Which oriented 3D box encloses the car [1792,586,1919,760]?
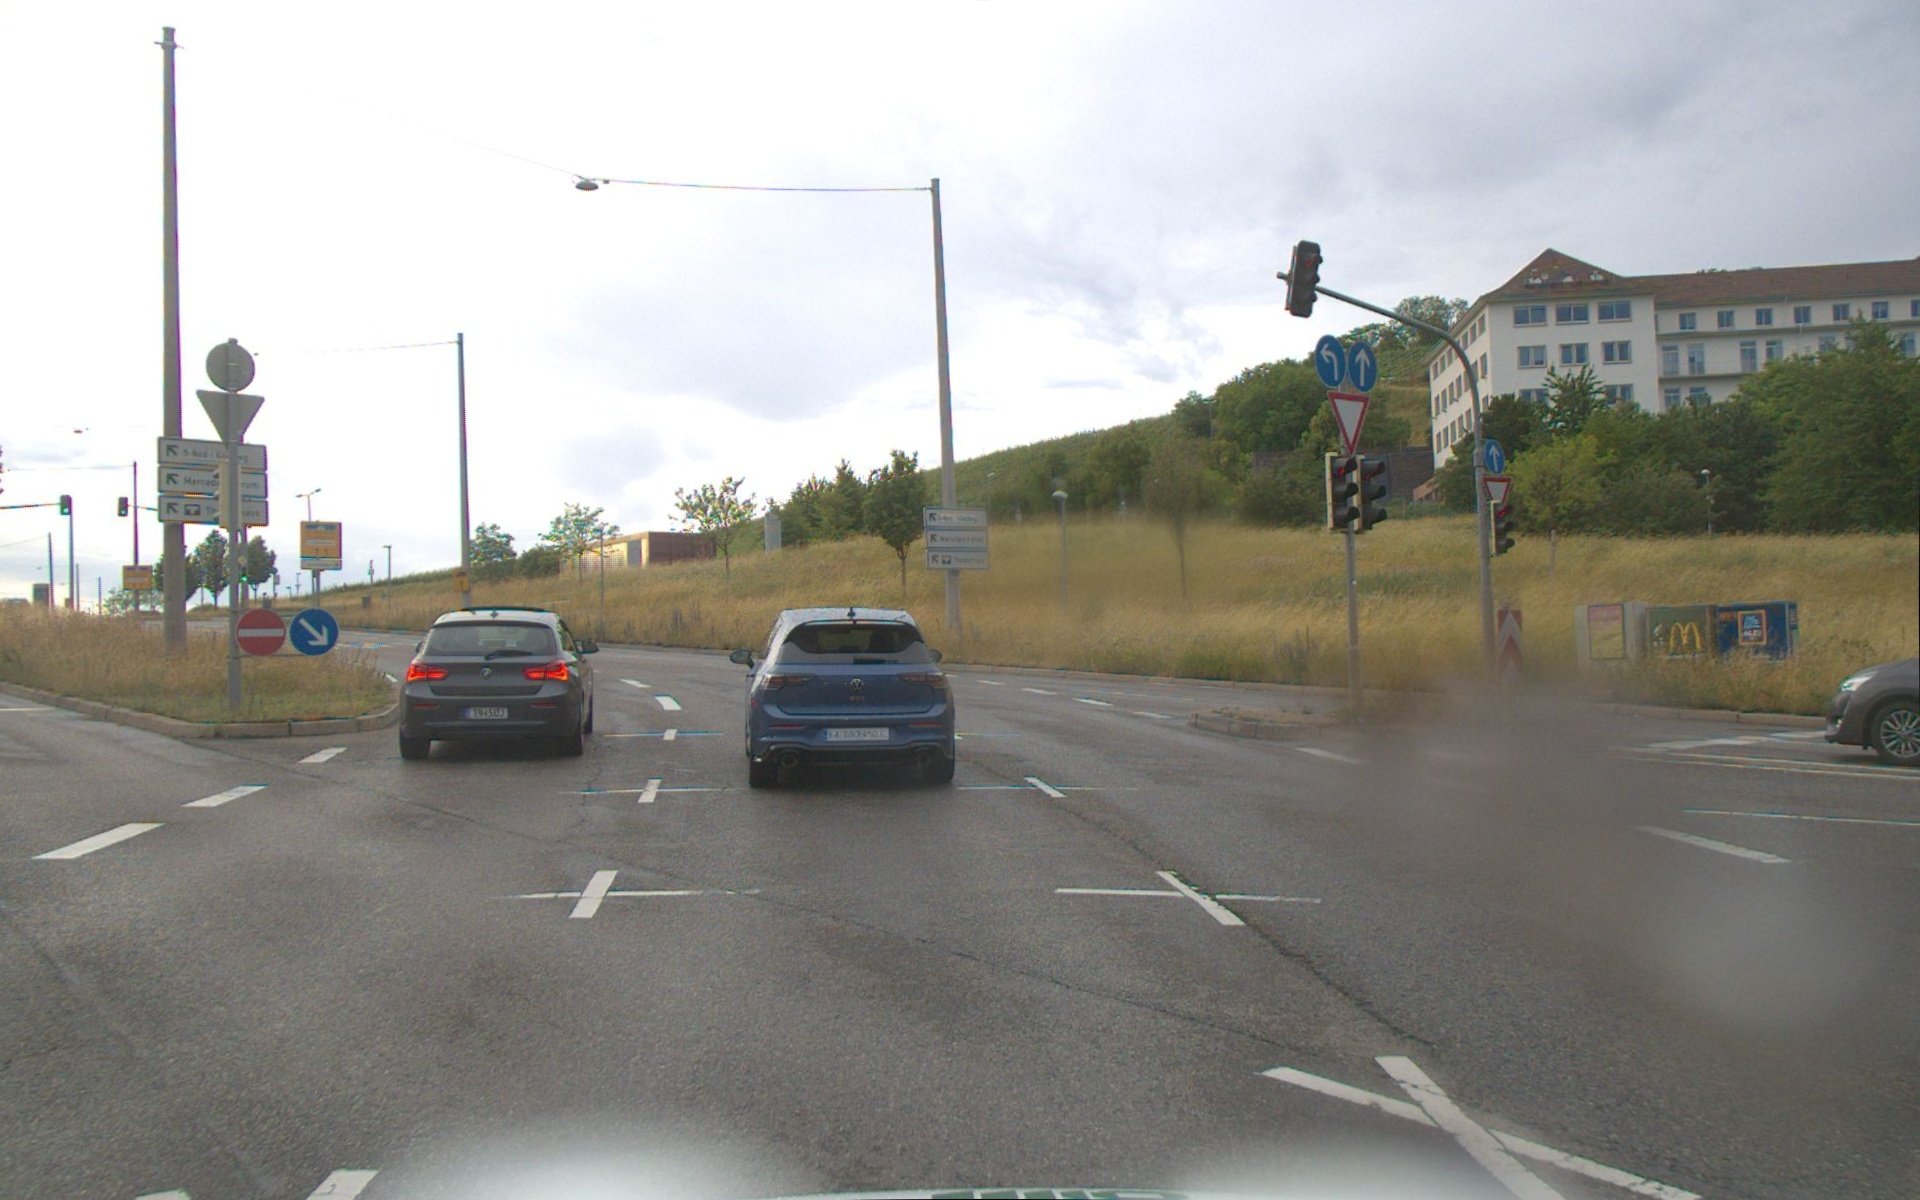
[{"bbox_3d":[10.694,0.714,15.763,1.982,1.671,4.560,1,0,-40],"label":"car"}]

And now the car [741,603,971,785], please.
[{"bbox_3d":[-1.030,0.742,15.024,1.803,1.418,3.994,0,0,-6],"label":"car"}]

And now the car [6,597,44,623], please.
[{"bbox_3d":[-58.675,0.656,103.807,1.708,1.568,3.657,3,-2,-35],"label":"car"}]

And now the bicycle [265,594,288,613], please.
[{"bbox_3d":[-40.872,0.219,98.872,1.723,1.124,0.630,-2,-2,44],"label":"bicycle"}]

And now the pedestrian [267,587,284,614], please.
[{"bbox_3d":[-40.907,0.034,98.869,0.880,1.598,0.631,-1,0,43],"label":"pedestrian"}]

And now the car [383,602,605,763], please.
[{"bbox_3d":[-4.771,0.784,17.441,1.835,1.487,3.966,0,-1,-10],"label":"car"}]
